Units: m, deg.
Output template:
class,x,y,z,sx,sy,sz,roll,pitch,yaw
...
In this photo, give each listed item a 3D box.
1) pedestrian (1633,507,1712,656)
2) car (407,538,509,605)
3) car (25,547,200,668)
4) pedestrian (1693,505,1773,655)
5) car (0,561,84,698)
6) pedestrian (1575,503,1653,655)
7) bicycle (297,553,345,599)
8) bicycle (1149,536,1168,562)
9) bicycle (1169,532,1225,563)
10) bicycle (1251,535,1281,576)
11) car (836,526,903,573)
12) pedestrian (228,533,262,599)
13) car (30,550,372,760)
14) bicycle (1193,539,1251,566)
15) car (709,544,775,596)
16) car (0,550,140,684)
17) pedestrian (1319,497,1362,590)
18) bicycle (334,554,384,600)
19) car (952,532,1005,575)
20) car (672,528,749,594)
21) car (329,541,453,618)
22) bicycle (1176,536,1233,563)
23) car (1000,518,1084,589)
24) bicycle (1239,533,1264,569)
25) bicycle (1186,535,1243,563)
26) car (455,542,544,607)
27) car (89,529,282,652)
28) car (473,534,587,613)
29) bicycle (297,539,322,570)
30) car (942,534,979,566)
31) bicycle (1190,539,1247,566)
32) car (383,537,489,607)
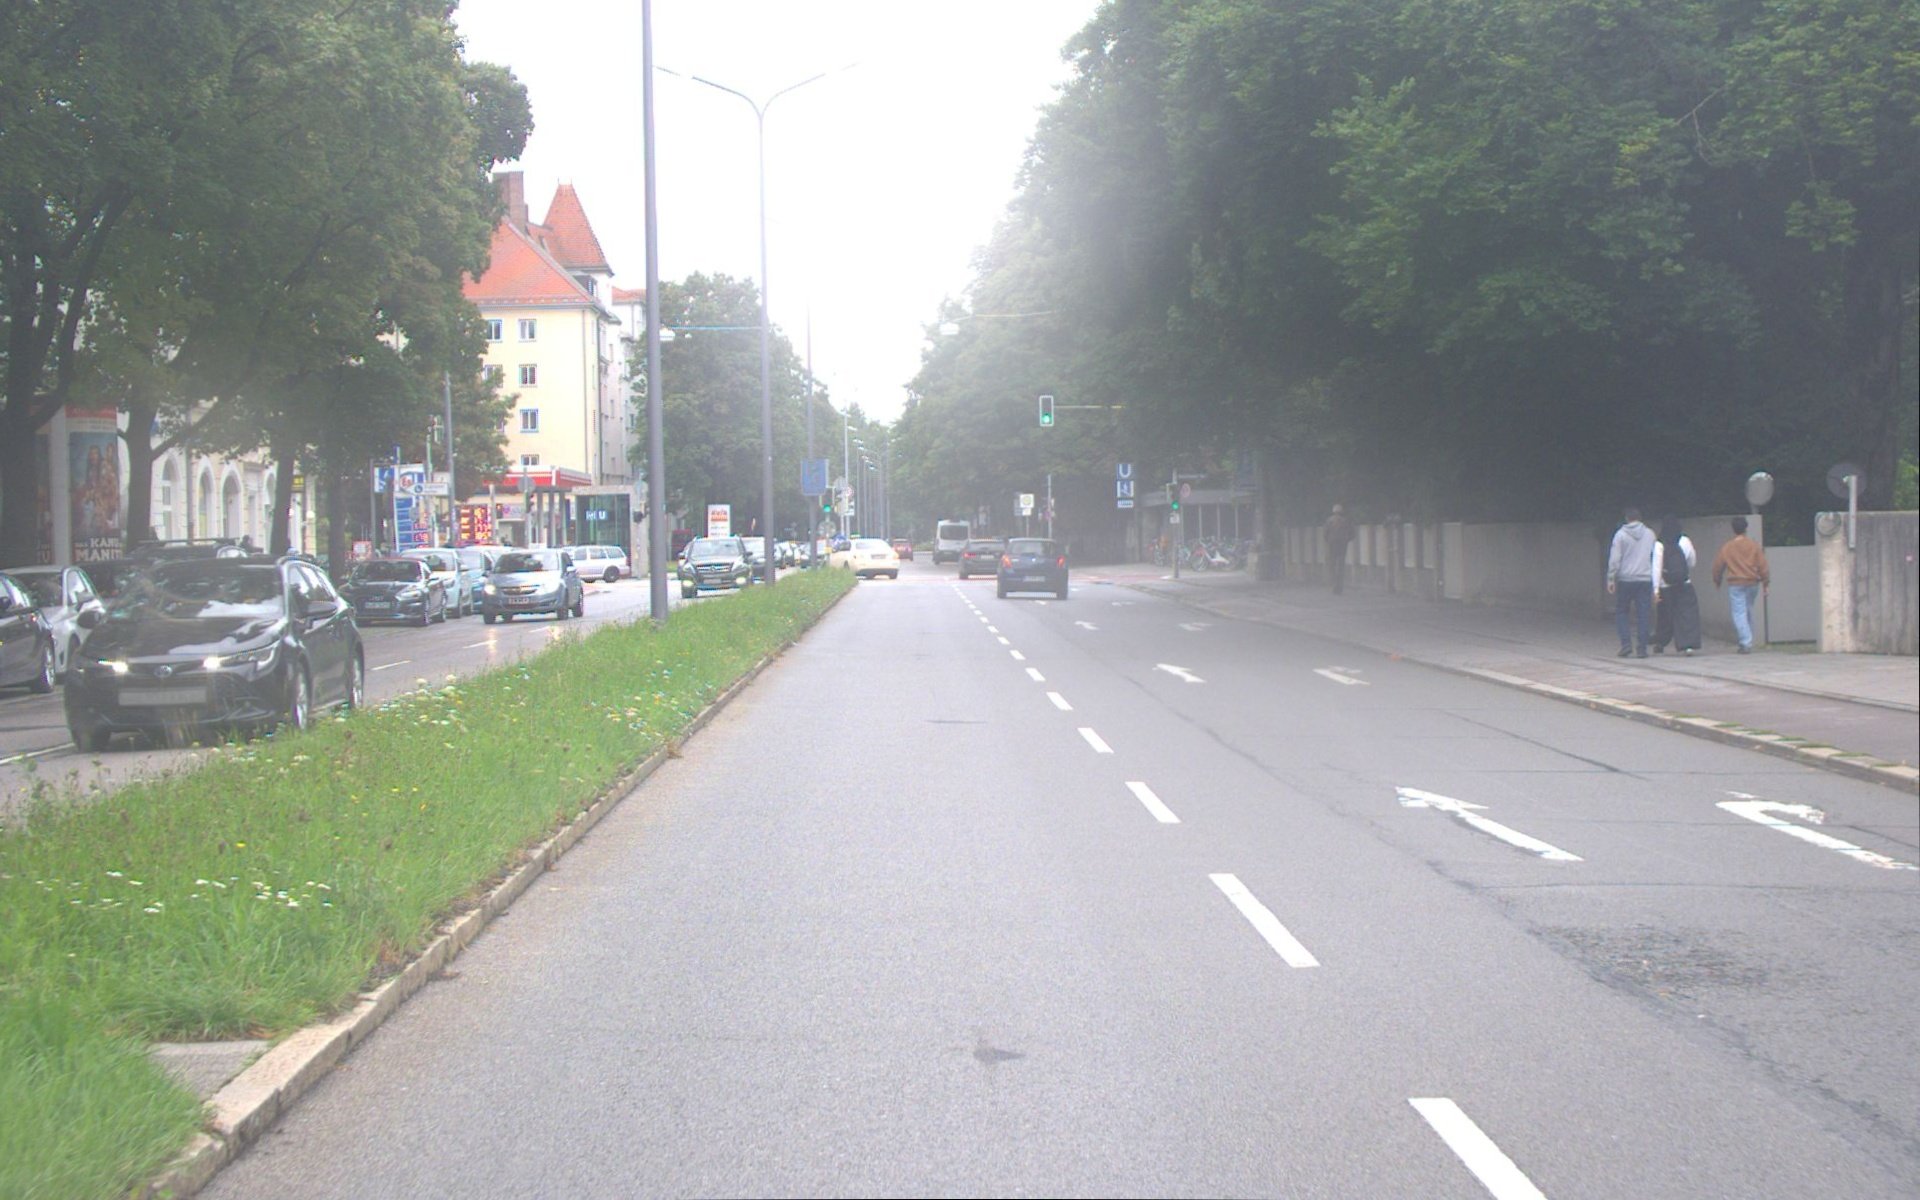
class,x,y,z,sx,sy,sz,roll,pitch,yaw
pedestrian,8.295,-0.217,40.050,0.666,1.687,0.729,-3,1,-2
car,-11.856,-0.691,81.367,1.810,1.502,4.291,-1,1,-1
car,-11.476,0.079,46.707,1.726,1.552,3.010,-1,1,-3
pedestrian,8.996,-0.243,40.023,0.666,1.699,0.766,-3,1,-2
car,-10.951,0.306,37.440,1.726,1.401,4.363,-1,1,-1
pedestrian,7.604,-0.247,39.997,0.666,1.716,0.729,-3,1,-2
bicycle,-15.741,-0.587,84.632,0.457,1.111,1.966,-1,1,-32
bicycle,8.055,-2.078,139.813,0.556,1.011,2.016,-1,1,-3
bicycle,9.305,-2.052,134.998,2.143,1.174,0.603,-1,1,8
bicycle,8.423,-1.231,94.679,0.622,1.087,2.026,-1,1,-1
car,-3.278,-1.844,123.814,1.778,1.641,4.782,-1,1,-9
pedestrian,-18.387,-0.884,88.435,0.591,1.691,0.946,-1,1,-28
car,-5.967,0.373,27.524,1.810,1.502,4.323,-1,1,-1
bicycle,10.019,-1.826,131.361,2.143,1.011,0.634,-1,1,8
car,-7.324,-1.034,115.665,1.875,1.579,4.621,-3,1,0
car,-11.533,0.182,42.768,1.726,1.556,4.057,-1,1,-1
pedestrian,8.144,-1.213,73.612,0.777,1.935,0.802,-2,1,0
bicycle,-14.995,-0.575,85.752,0.548,1.111,1.881,-1,1,-32
car,0.633,-1.647,120.736,1.779,1.469,3.893,0,1,-1
car,-6.770,-1.079,93.636,1.769,1.673,4.369,-2,1,-1
car,-11.651,-0.443,70.636,1.810,1.502,4.646,-1,1,-1
bicycle,9.498,-1.946,133.533,2.143,1.011,0.603,-1,1,8
car,1.989,-1.165,84.444,1.857,1.678,4.000,-1,1,-1
bicycle,9.299,-1.565,109.826,0.599,1.117,1.890,-1,0,0
bicycle,9.784,-1.955,132.164,2.143,1.067,0.603,-1,1,8
car,-11.596,-0.665,86.723,1.649,1.579,3.790,-1,1,1
car,-11.449,-0.180,51.126,1.810,1.722,4.767,-1,1,-1
car,-8.754,-0.563,70.253,1.810,1.502,4.057,-2,1,-1
bicycle,-20.561,-1.446,108.665,0.473,0.977,1.545,-1,1,0
car,0.006,-2.853,195.627,1.993,1.750,4.000,-1,1,-1
bicycle,9.834,-1.803,130.783,2.143,1.011,0.603,-1,1,8
car,-11.728,-0.650,77.147,1.810,1.502,3.960,-1,1,-1
